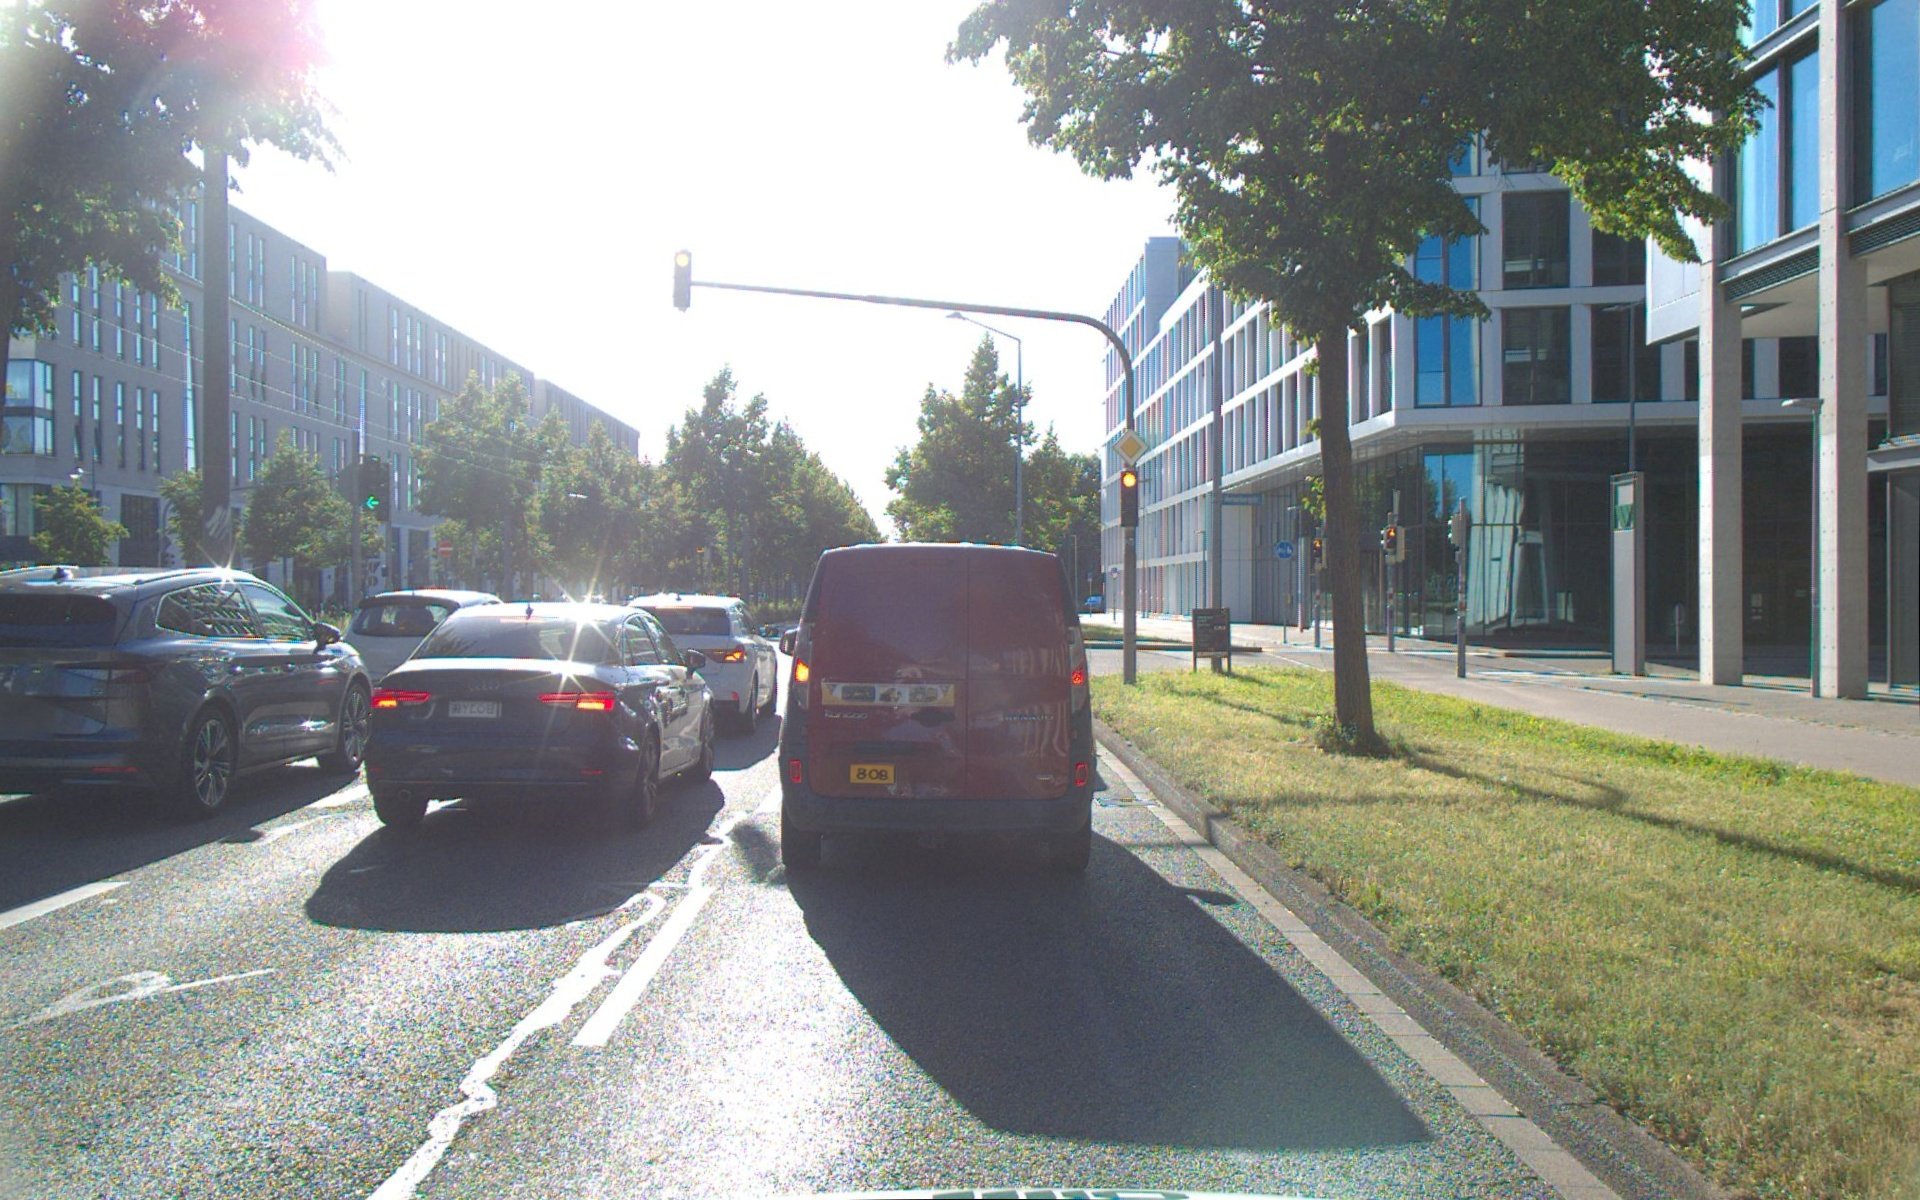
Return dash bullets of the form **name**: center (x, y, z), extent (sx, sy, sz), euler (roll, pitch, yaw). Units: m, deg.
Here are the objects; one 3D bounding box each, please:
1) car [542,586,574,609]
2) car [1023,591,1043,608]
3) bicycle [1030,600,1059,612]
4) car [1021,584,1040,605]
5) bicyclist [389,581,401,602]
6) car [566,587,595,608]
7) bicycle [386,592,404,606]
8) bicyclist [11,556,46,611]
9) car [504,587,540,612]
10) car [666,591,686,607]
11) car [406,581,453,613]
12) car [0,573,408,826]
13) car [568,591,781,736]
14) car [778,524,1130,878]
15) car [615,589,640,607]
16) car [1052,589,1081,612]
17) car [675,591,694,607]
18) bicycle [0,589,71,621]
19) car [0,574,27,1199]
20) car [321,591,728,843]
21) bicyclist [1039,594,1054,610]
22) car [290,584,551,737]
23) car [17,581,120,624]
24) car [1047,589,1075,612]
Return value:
- **car**: center (-36.419, -0.270, 149.891), extent (1.953, 2.049, 3.999), euler (0, 0, -1)
- **car**: center (8.006, -0.098, 181.069), extent (1.953, 1.813, 3.999), euler (0, 0, -1)
- **bicycle**: center (7.720, 0.545, 151.271), extent (2.590, 1.125, 0.948), euler (0, 0, 34)
- **car**: center (8.512, -0.696, 199.595), extent (1.953, 2.540, 4.986), euler (0, 0, -1)
- **bicyclist**: center (-40.997, -0.607, 120.053), extent (0.663, 1.556, 0.714), euler (0, 0, -1)
- **car**: center (-36.439, -0.254, 158.991), extent (1.953, 2.049, 3.999), euler (0, 0, -1)
- **bicycle**: center (-40.995, -0.057, 120.016), extent (0.663, 1.005, 1.956), euler (0, 0, -1)
- **bicyclist**: center (-36.404, -0.651, 64.638), extent (0.921, 2.129, 0.817), euler (0, 0, -1)
- **car**: center (-36.294, -0.066, 137.063), extent (1.953, 2.049, 3.999), euler (0, 0, -1)
- **car**: center (-37.427, -0.181, 217.793), extent (1.953, 2.049, 3.999), euler (0, 0, -1)
- **car**: center (-35.325, -0.220, 110.228), extent (1.953, 2.049, 3.999), euler (0, 0, -1)
- **car**: center (-5.581, 0.589, 11.932), extent (1.763, 1.473, 4.567), euler (0, 0, -2)
- **car**: center (-3.081, 0.626, 18.589), extent (1.767, 1.451, 3.900), euler (0, 0, -1)
- **car**: center (-0.058, 0.504, 10.492), extent (1.804, 1.812, 3.999), euler (0, 0, -1)
- **car**: center (-36.781, -0.222, 182.971), extent (1.953, 2.049, 3.999), euler (0, 0, -1)
- **car**: center (8.283, 0.017, 129.164), extent (1.953, 1.813, 3.999), euler (0, 0, -1)
- **car**: center (-37.241, -0.163, 223.419), extent (1.953, 2.049, 3.999), euler (0, 0, -1)
- **bicycle**: center (-36.395, 0.199, 64.627), extent (2.882, 1.211, 0.817), euler (0, 0, -2)
- **car**: center (-2.593, 0.723, 0.594), extent (1.836, 1.510, 4.965), euler (0, 0, -2)
- **car**: center (-2.826, 0.669, 11.753), extent (1.804, 1.451, 4.338), euler (0, 0, -1)
- **bicyclist**: center (7.913, 0.168, 151.137), extent (0.966, 1.462, 0.948), euler (0, 0, 33)
- **car**: center (-6.202, 0.620, 19.588), extent (1.764, 1.509, 4.565), euler (3, 0, -4)
- **car**: center (-33.224, 0.085, 61.771), extent (1.729, 1.546, 3.999), euler (0, 1, -1)
- **car**: center (8.158, 0.022, 134.171), extent (1.953, 1.813, 3.999), euler (0, 0, -1)
